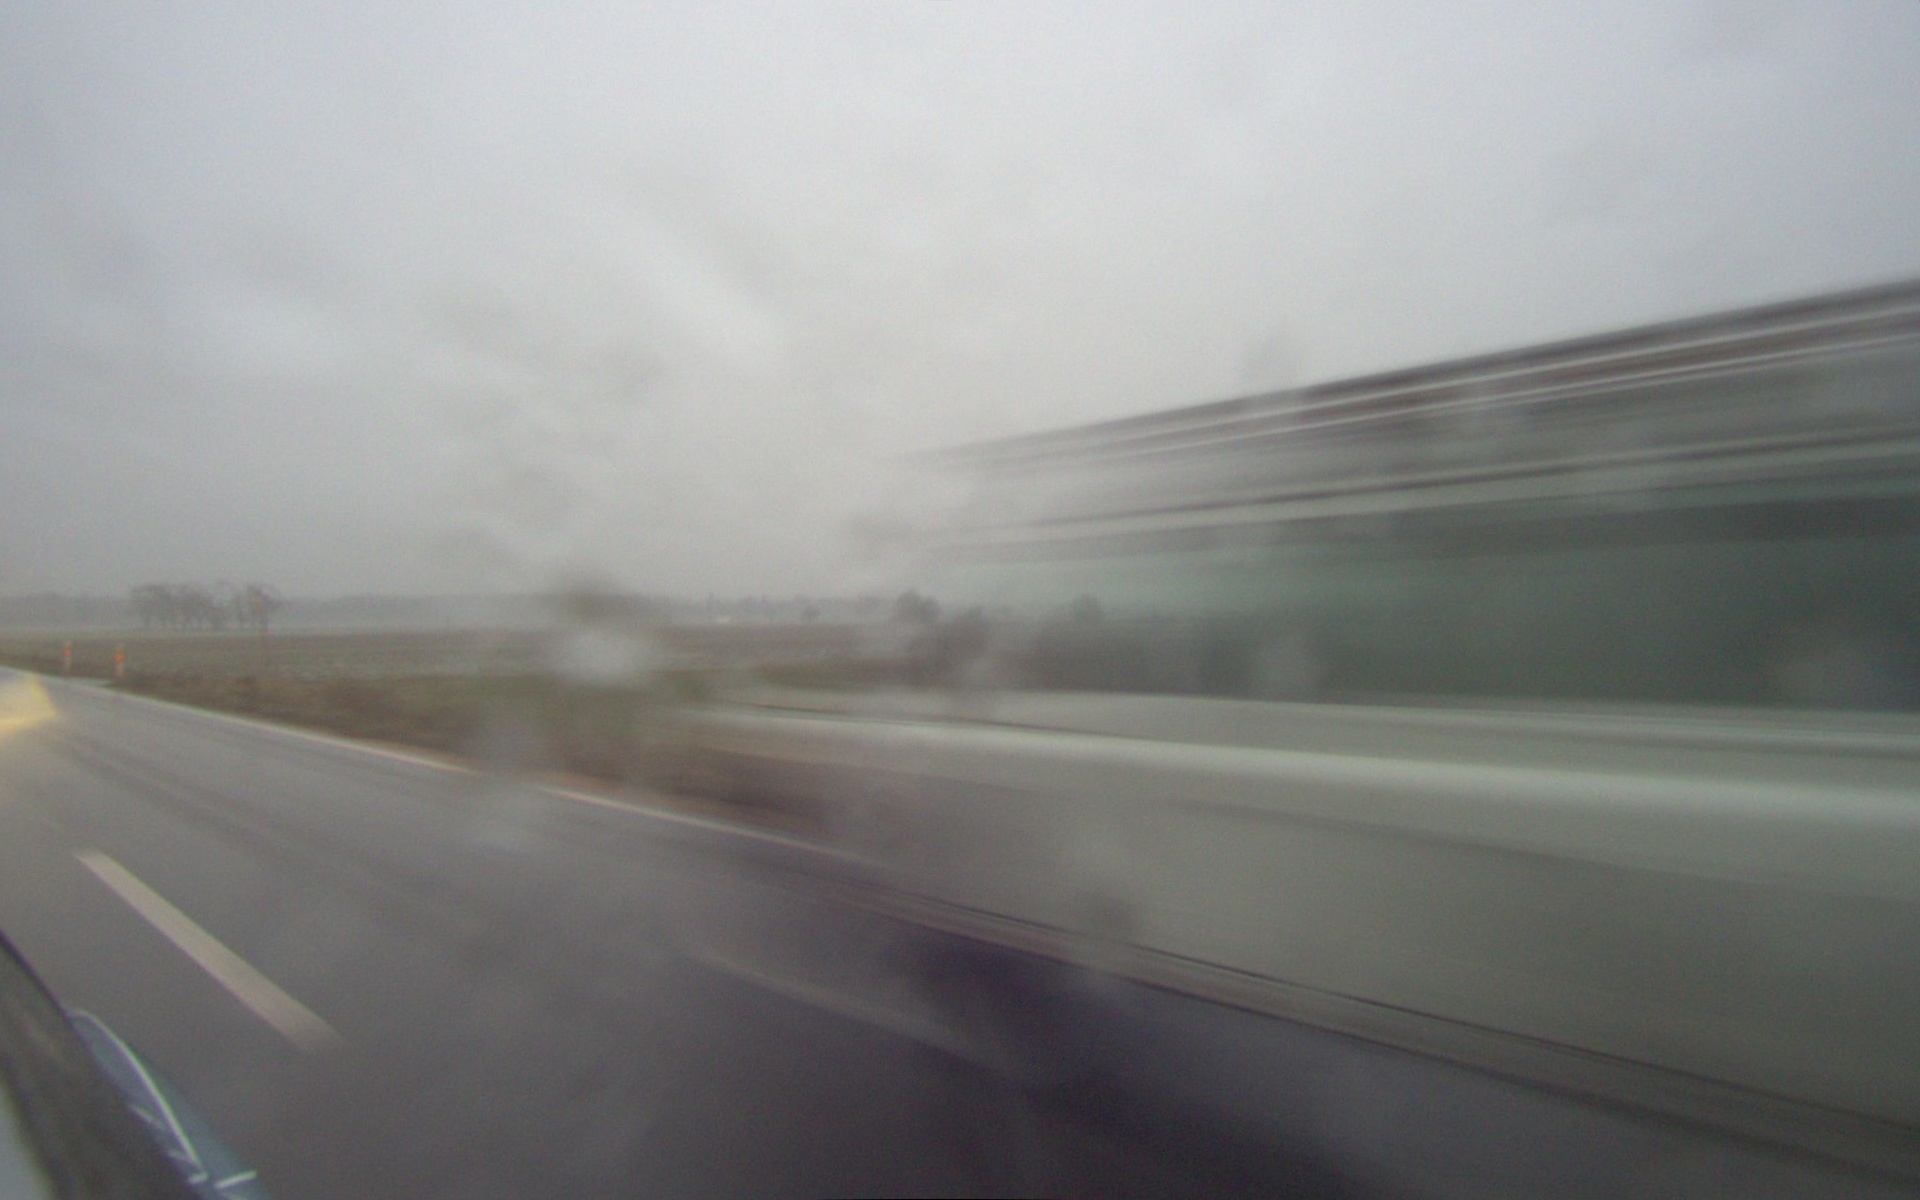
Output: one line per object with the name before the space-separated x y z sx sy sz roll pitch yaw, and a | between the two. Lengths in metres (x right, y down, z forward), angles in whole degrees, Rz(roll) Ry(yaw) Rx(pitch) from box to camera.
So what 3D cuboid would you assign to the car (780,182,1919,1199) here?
car | 1.641 0.426 2.777 4.309 2.153 1.896 -1 -2 40
